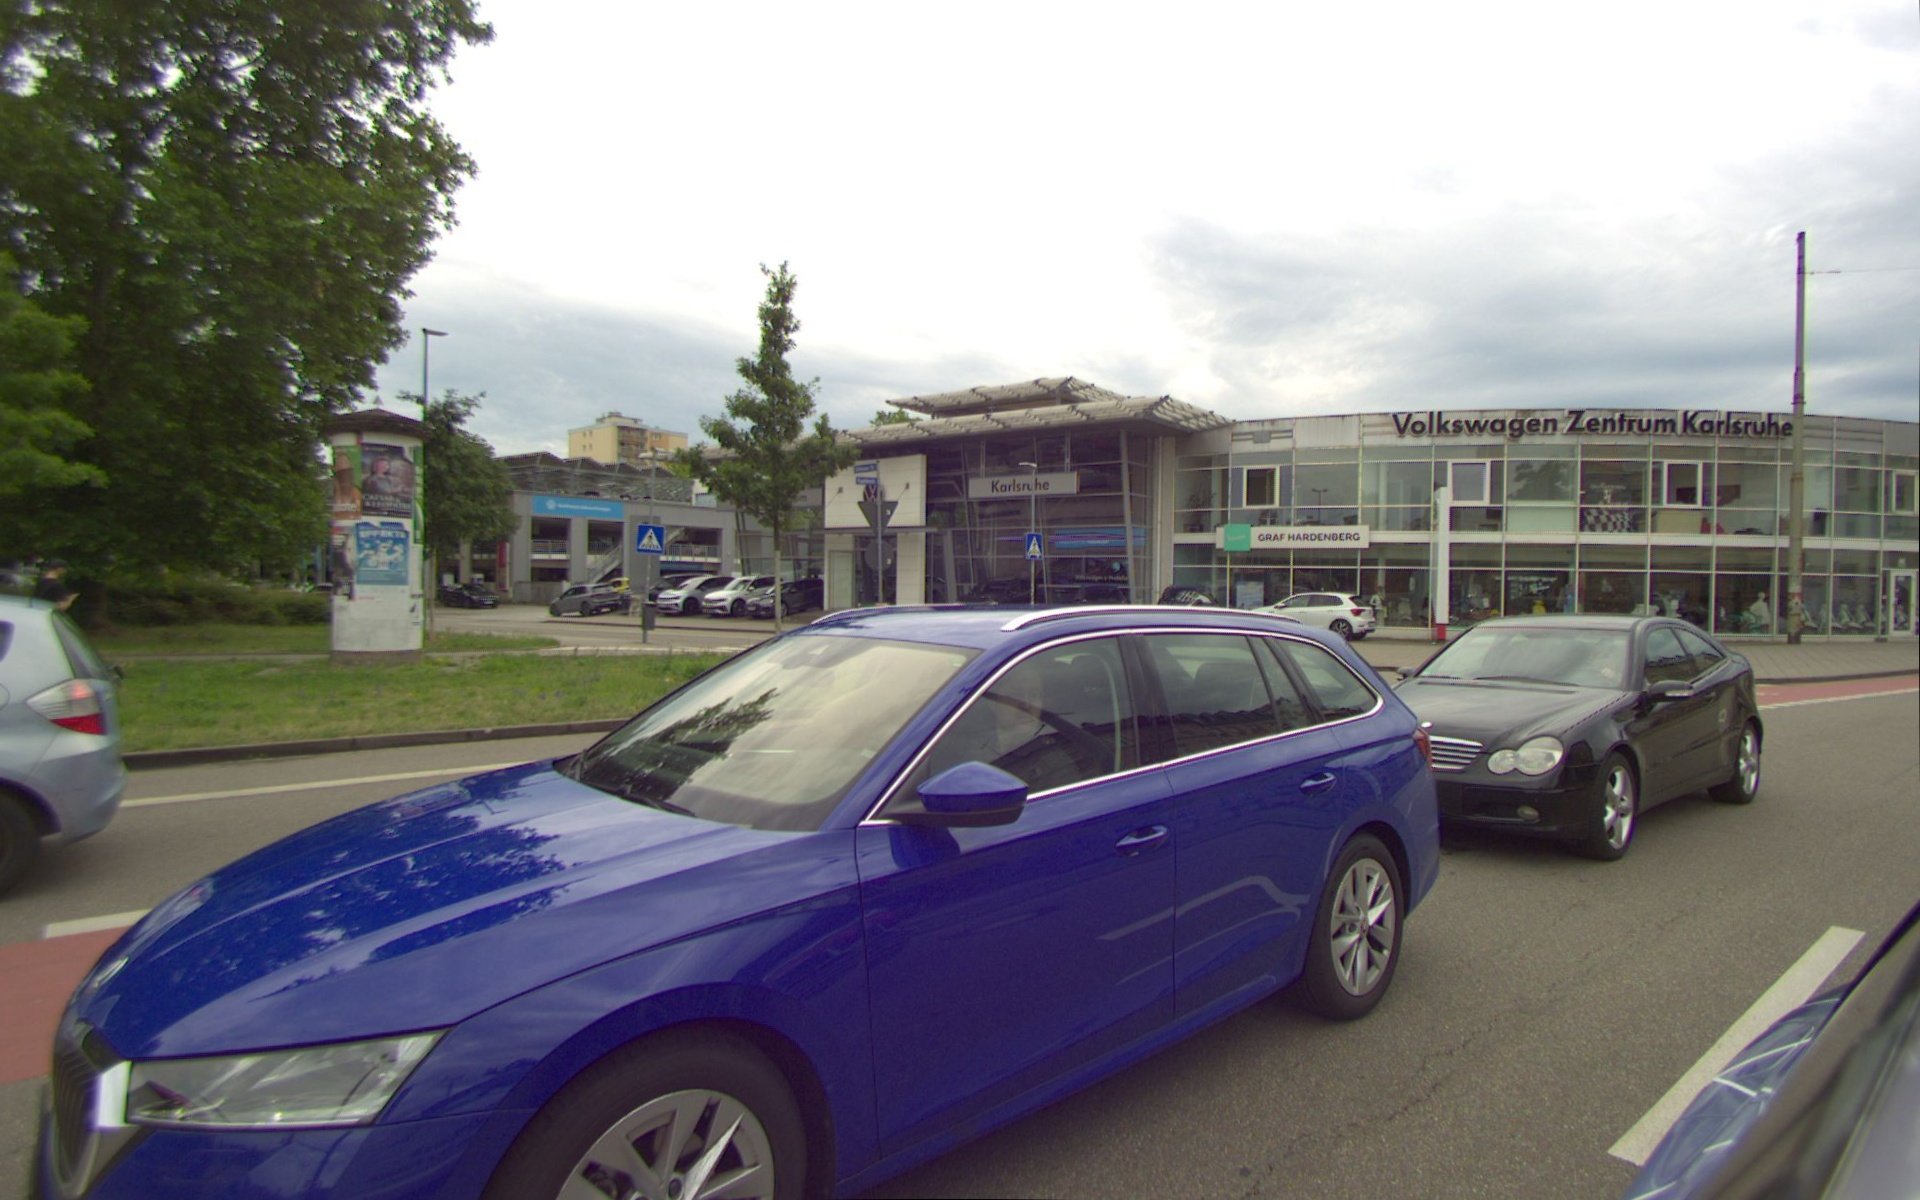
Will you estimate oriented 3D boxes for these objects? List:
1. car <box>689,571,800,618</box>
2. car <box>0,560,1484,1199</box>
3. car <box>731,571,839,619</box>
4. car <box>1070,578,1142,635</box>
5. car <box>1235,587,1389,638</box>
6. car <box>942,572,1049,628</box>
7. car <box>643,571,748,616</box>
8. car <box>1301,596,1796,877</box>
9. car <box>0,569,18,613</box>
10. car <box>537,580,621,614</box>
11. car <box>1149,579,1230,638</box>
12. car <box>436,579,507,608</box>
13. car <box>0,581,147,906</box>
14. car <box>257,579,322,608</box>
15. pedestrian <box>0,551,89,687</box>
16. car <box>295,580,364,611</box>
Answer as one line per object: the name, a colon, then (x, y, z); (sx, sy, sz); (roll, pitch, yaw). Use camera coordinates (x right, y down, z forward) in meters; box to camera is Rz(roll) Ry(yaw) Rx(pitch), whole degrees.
car: (-9.413, -0.278, 44.592); (1.850, 1.719, 4.716); (0, 4, 36)
car: (-0.121, 0.660, 3.343); (4.387, 1.507, 1.783); (-1, 2, -41)
car: (-7.330, -0.252, 42.847); (1.886, 1.717, 4.421); (0, 4, 36)
car: (4.696, 0.155, 33.124); (1.824, 1.522, 4.340); (0, 4, 2)
car: (11.000, 0.357, 31.791); (4.243, 1.471, 1.757); (1, 1, 40)
car: (1.338, -0.051, 35.845); (1.846, 1.652, 4.464); (0, 4, 31)
car: (-11.994, -0.333, 46.187); (1.859, 1.719, 4.419); (0, 4, 37)
car: (4.333, 0.706, 7.211); (3.996, 1.439, 1.714); (0, 1, -39)
car: (-36.513, -0.336, 36.329); (4.408, 1.567, 1.854); (1, 1, 13)
car: (-18.652, -0.167, 49.493); (3.988, 1.583, 1.896); (0, 2, 35)
car: (7.342, 0.213, 32.711); (1.867, 1.581, 4.219); (1, 3, 4)
car: (-29.001, -0.407, 60.044); (4.446, 1.567, 1.876); (2, 2, 35)
car: (-6.109, 0.655, 4.345); (4.027, 1.485, 1.752); (0, 1, -41)
car: (-41.734, -0.420, 62.970); (4.446, 1.643, 1.838); (2, 2, 35)
pedestrian: (-13.142, 0.251, 14.440); (0.527, 1.867, 0.985); (1, 1, 6)
car: (-37.078, -0.292, 59.497); (4.446, 1.643, 1.838); (2, 2, 35)
